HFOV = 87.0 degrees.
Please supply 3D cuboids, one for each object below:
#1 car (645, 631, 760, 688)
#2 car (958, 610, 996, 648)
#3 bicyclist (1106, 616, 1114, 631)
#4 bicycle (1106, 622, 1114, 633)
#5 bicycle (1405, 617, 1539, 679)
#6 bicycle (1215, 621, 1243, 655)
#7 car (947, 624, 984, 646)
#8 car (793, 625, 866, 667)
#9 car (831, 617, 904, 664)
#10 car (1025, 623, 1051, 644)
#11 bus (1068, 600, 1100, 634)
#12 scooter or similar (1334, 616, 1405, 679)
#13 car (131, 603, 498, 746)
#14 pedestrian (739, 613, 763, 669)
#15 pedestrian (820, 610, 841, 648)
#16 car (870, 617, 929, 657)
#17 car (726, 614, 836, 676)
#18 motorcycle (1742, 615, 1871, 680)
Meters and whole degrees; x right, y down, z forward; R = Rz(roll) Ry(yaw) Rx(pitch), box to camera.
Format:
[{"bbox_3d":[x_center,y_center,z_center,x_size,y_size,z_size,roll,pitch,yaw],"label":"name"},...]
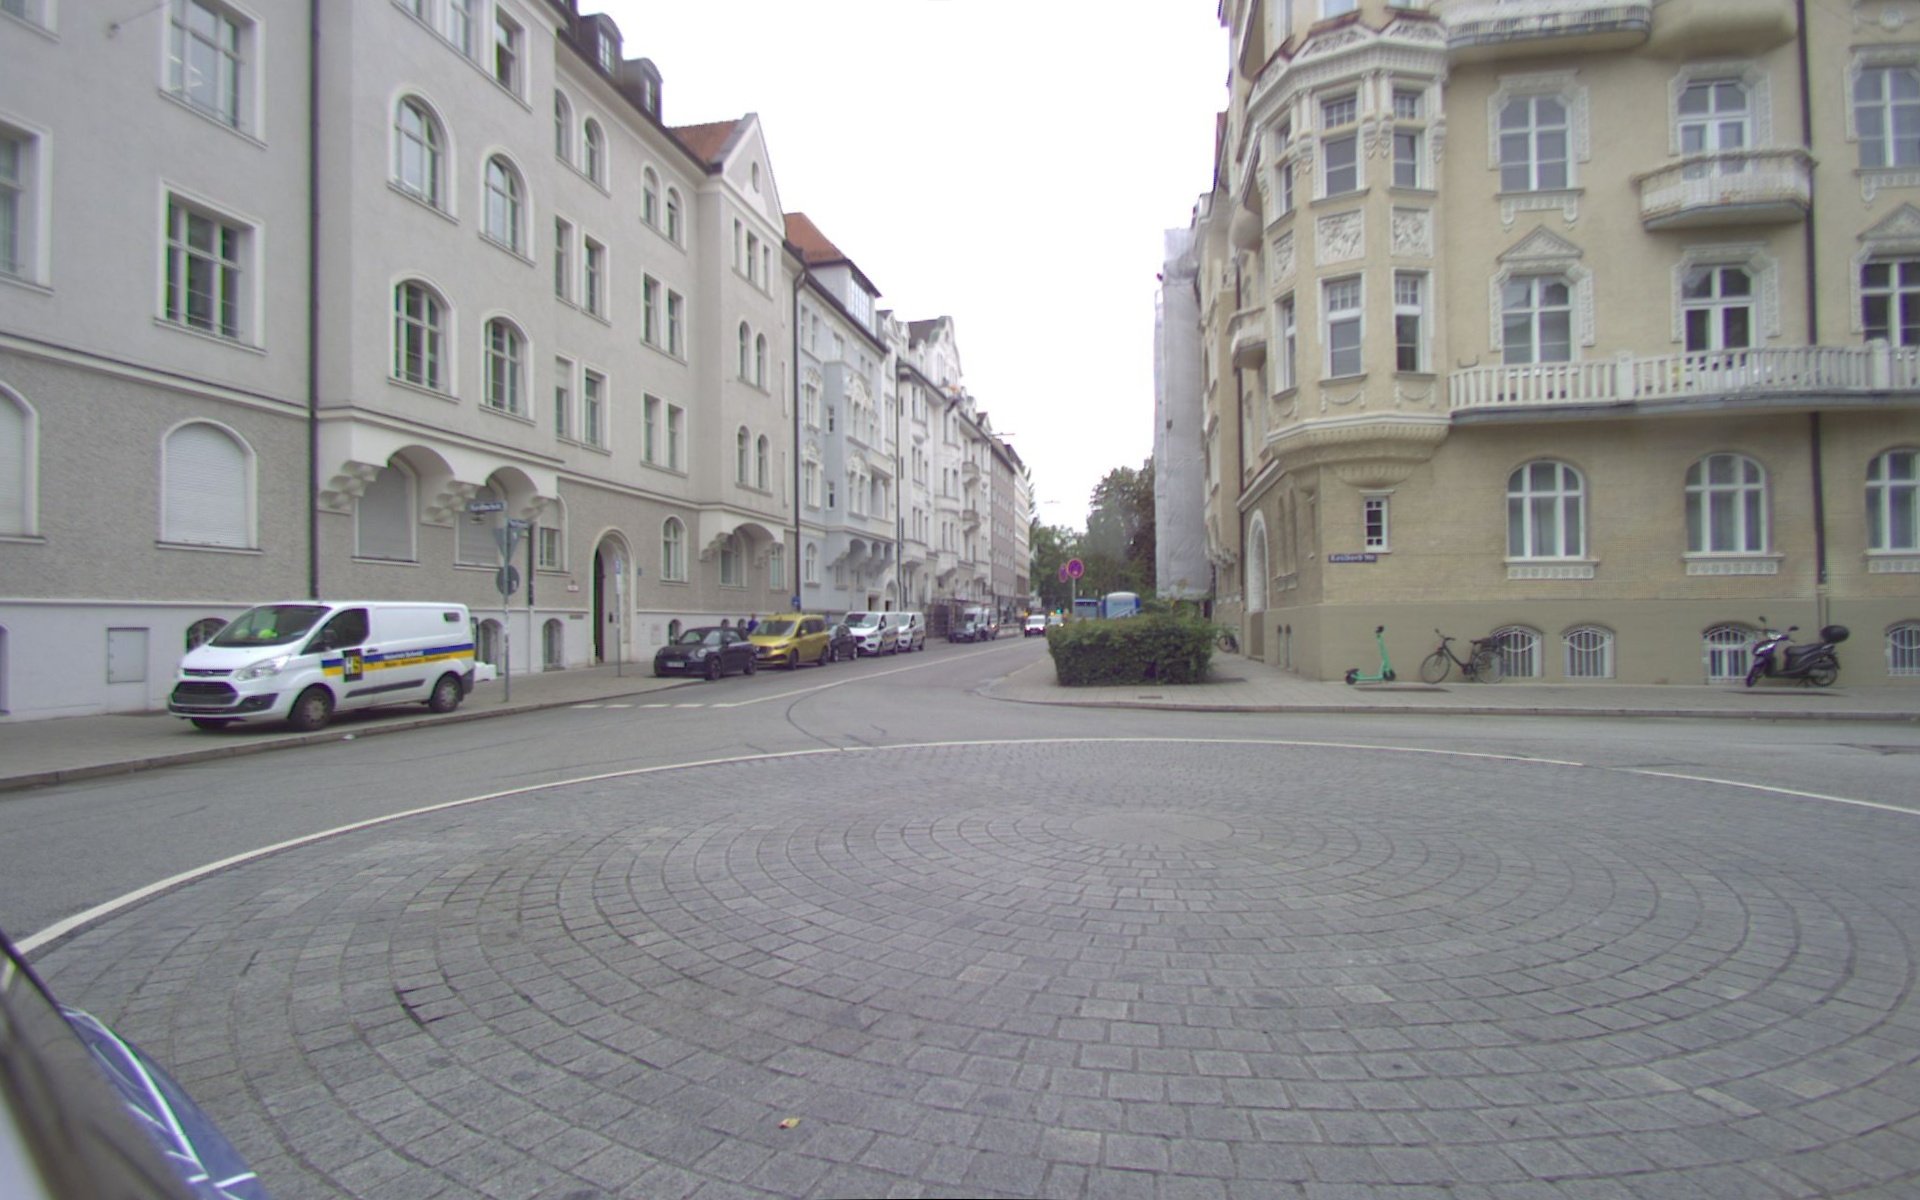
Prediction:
[{"bbox_3d":[-7.218,1.631,28.768,1.700,1.456,3.813,-1,-1,12],"label":"car"},{"bbox_3d":[1.336,2.152,75.849,2.060,2.709,5.429,0,-1,9],"label":"car"},{"bbox_3d":[15.442,2.372,104.062,0.762,1.504,1.057,-3,-2,9],"label":"bicyclist"},{"bbox_3d":[15.472,2.834,104.070,0.761,1.090,2.044,-3,-2,9],"label":"bicycle"},{"bbox_3d":[10.500,0.986,20.805,2.311,1.212,0.698,-1,-2,6],"label":"bicycle"},{"bbox_3d":[10.196,1.418,38.408,0.814,1.215,2.070,-2,-2,10],"label":"bicycle"},{"bbox_3d":[0.413,2.379,69.502,1.774,1.418,4.229,-1,-1,11],"label":"car"},{"bbox_3d":[-5.030,1.744,39.471,1.622,1.525,3.870,-1,-1,12],"label":"car"},{"bbox_3d":[-4.046,1.751,44.966,1.979,1.933,4.869,-1,-1,11],"label":"car"},{"bbox_3d":[6.628,2.811,85.735,1.898,1.670,4.590,-1,-1,8],"label":"car"},{"bbox_3d":[13.234,1.788,107.974,3.144,3.236,18.016,1,-1,7],"label":"bus"},{"bbox_3d":[8.481,0.978,20.963,1.264,1.281,0.460,-1,-1,-7],"label":"scooter or similar"},{"bbox_3d":[-10.121,1.062,16.568,1.924,1.936,5.356,0,-1,11],"label":"car"},{"bbox_3d":[-7.650,1.503,37.027,0.579,2.029,0.724,-1,-2,14],"label":"pedestrian"},{"bbox_3d":[-6.603,1.487,51.563,0.846,1.917,0.742,-1,-1,15],"label":"pedestrian"},{"bbox_3d":[-2.991,1.831,51.217,1.977,1.933,4.864,-1,-1,9],"label":"car"},{"bbox_3d":[-5.927,1.454,34.094,1.981,1.933,4.550,-1,-1,14],"label":"car"},{"bbox_3d":[16.296,0.909,19.517,1.725,1.195,0.740,-1,-2,7],"label":"motorcycle"}]
